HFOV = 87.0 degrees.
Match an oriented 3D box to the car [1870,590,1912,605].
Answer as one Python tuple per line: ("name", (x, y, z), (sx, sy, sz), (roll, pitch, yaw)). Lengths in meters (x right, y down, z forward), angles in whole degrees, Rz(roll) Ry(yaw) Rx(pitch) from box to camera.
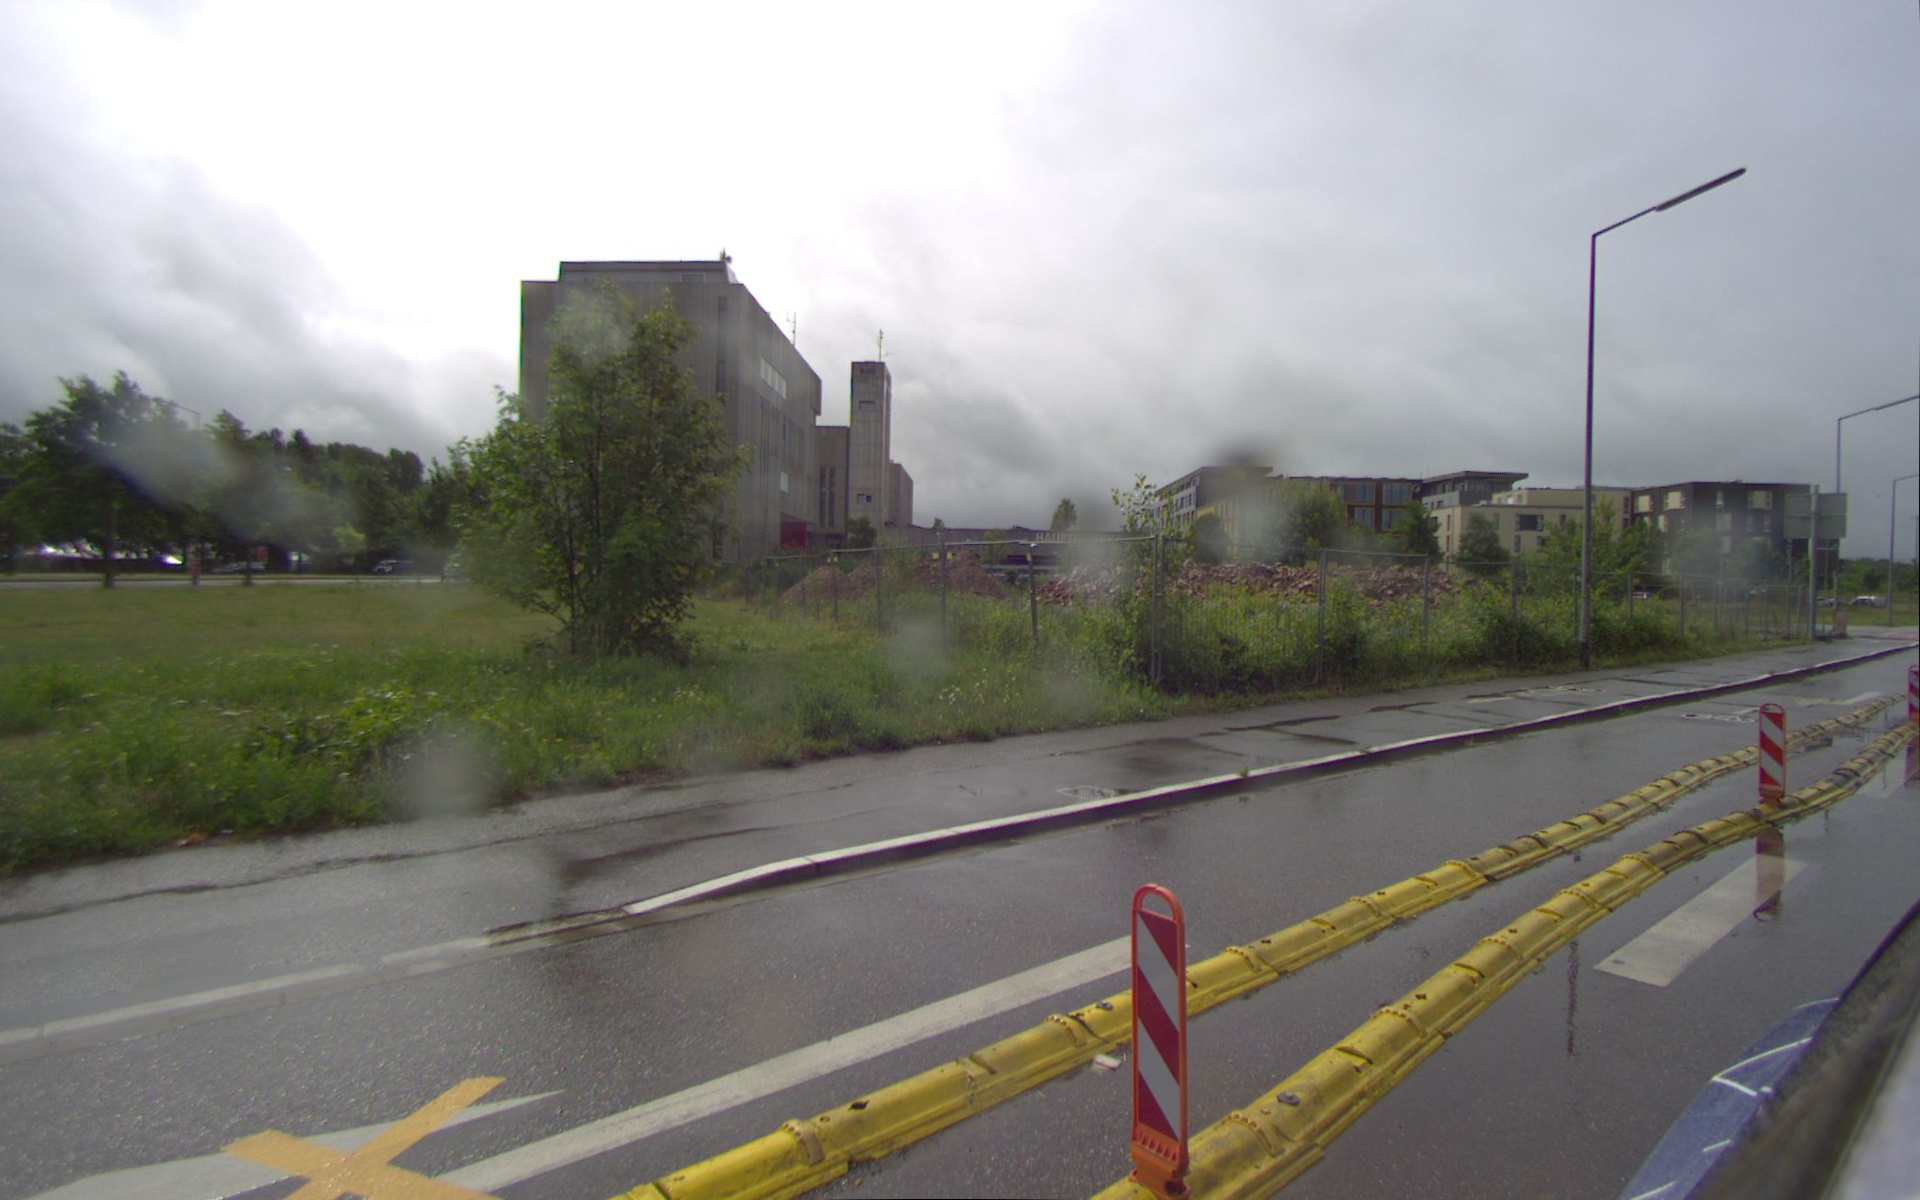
("car", (133.258, -0.409, 144.921), (3.930, 2.039, 1.997), (1, 1, 6))

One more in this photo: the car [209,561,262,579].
("car", (-63.279, -2.616, 88.460), (1.515, 1.578, 4.233), (1, 1, 3))

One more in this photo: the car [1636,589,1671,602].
("car", (84.130, -0.549, 122.776), (3.591, 1.603, 1.652), (1, 1, -17))
